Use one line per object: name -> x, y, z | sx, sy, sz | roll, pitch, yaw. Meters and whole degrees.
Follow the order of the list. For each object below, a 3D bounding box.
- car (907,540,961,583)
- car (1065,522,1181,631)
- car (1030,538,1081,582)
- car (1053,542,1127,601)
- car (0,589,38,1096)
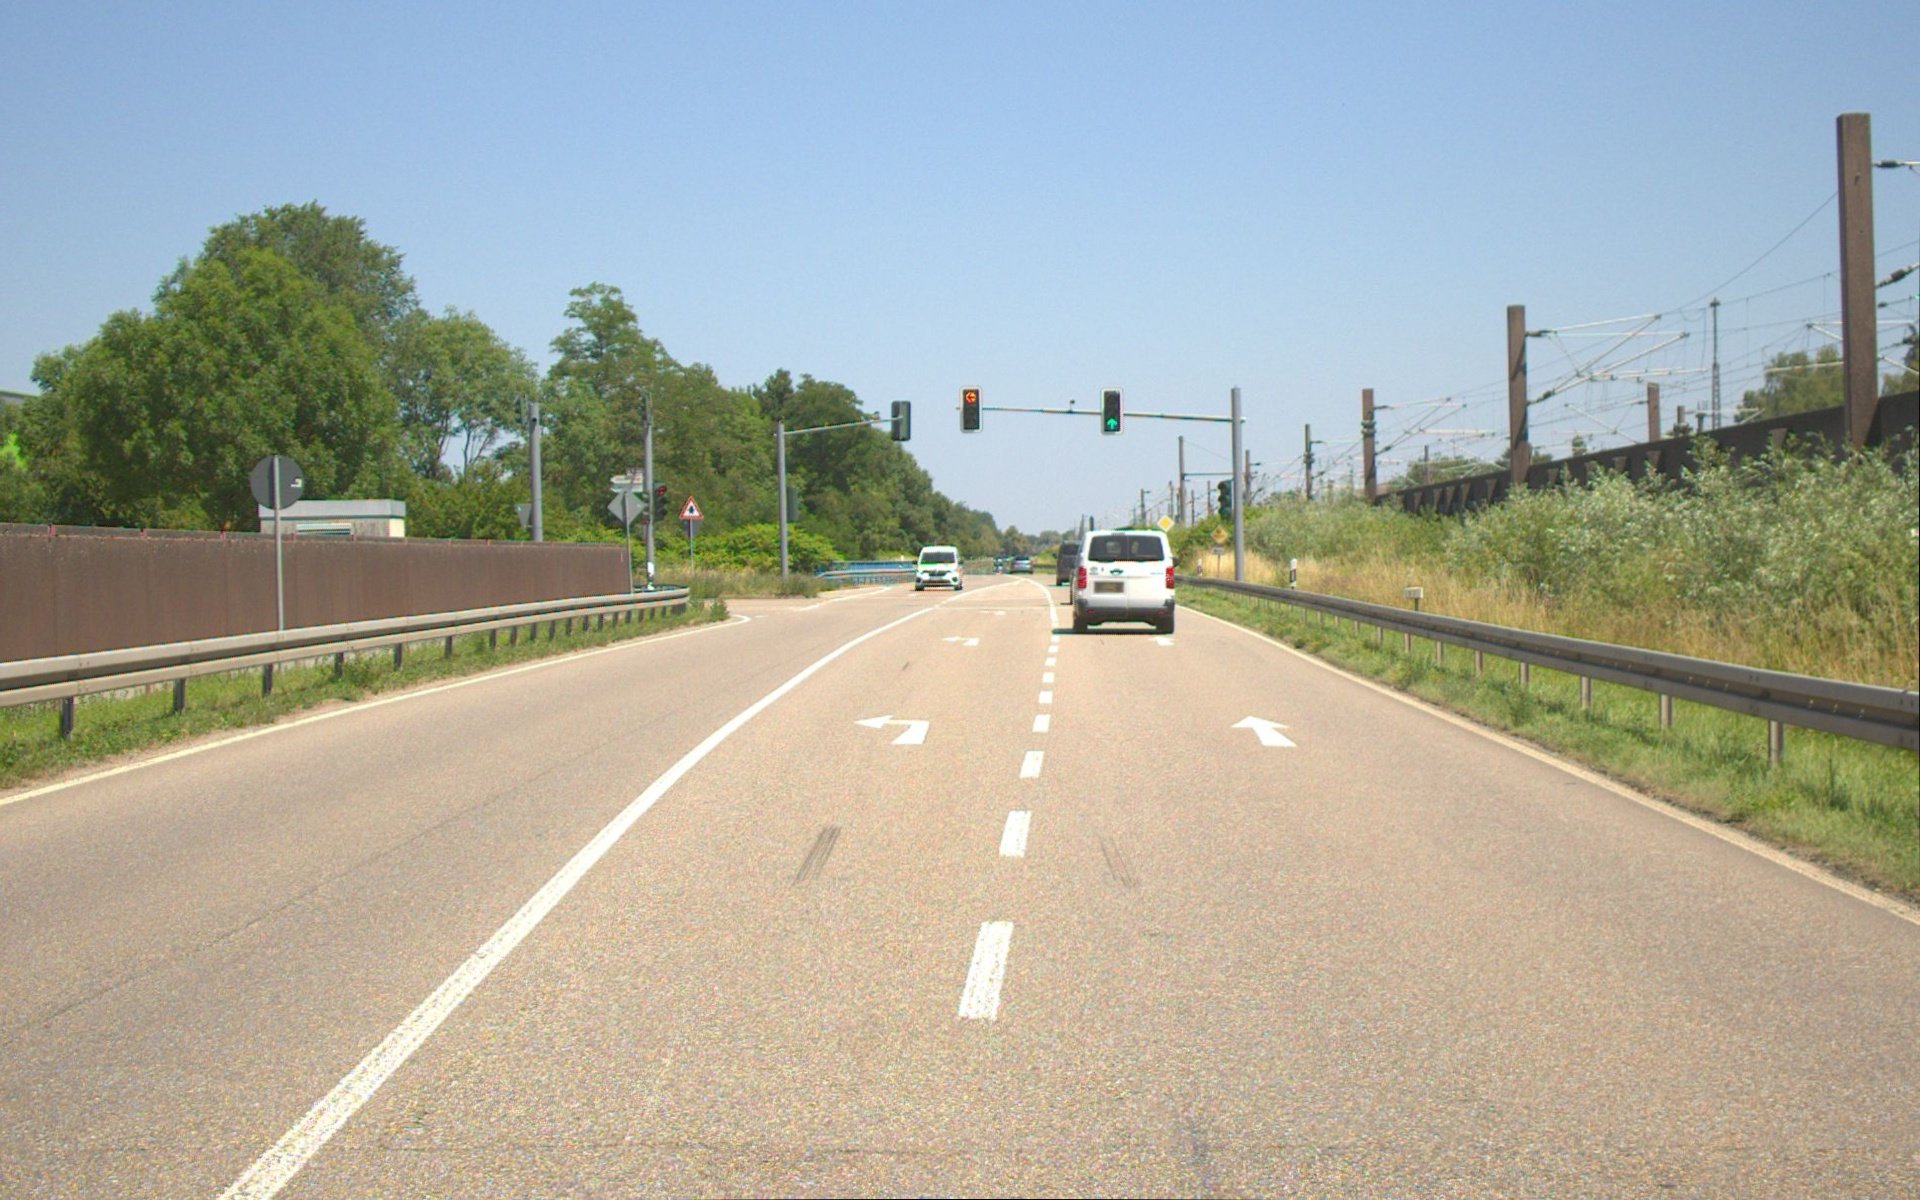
car -> -1.093, -1.599, 141.125 | 1.887, 1.734, 4.777 | 0, 1, -4
car -> 3.043, -0.462, 64.887 | 1.993, 1.977, 4.060 | 1, 1, 0
car -> 4.305, -1.836, 155.747 | 2.155, 1.961, 4.543 | 0, 1, 0
car -> 3.863, -0.855, 102.902 | 2.019, 1.720, 4.543 | 0, 1, 0
car -> -3.499, 0.690, 7.701 | 1.845, 1.385, 4.191 | 1, 1, -2
